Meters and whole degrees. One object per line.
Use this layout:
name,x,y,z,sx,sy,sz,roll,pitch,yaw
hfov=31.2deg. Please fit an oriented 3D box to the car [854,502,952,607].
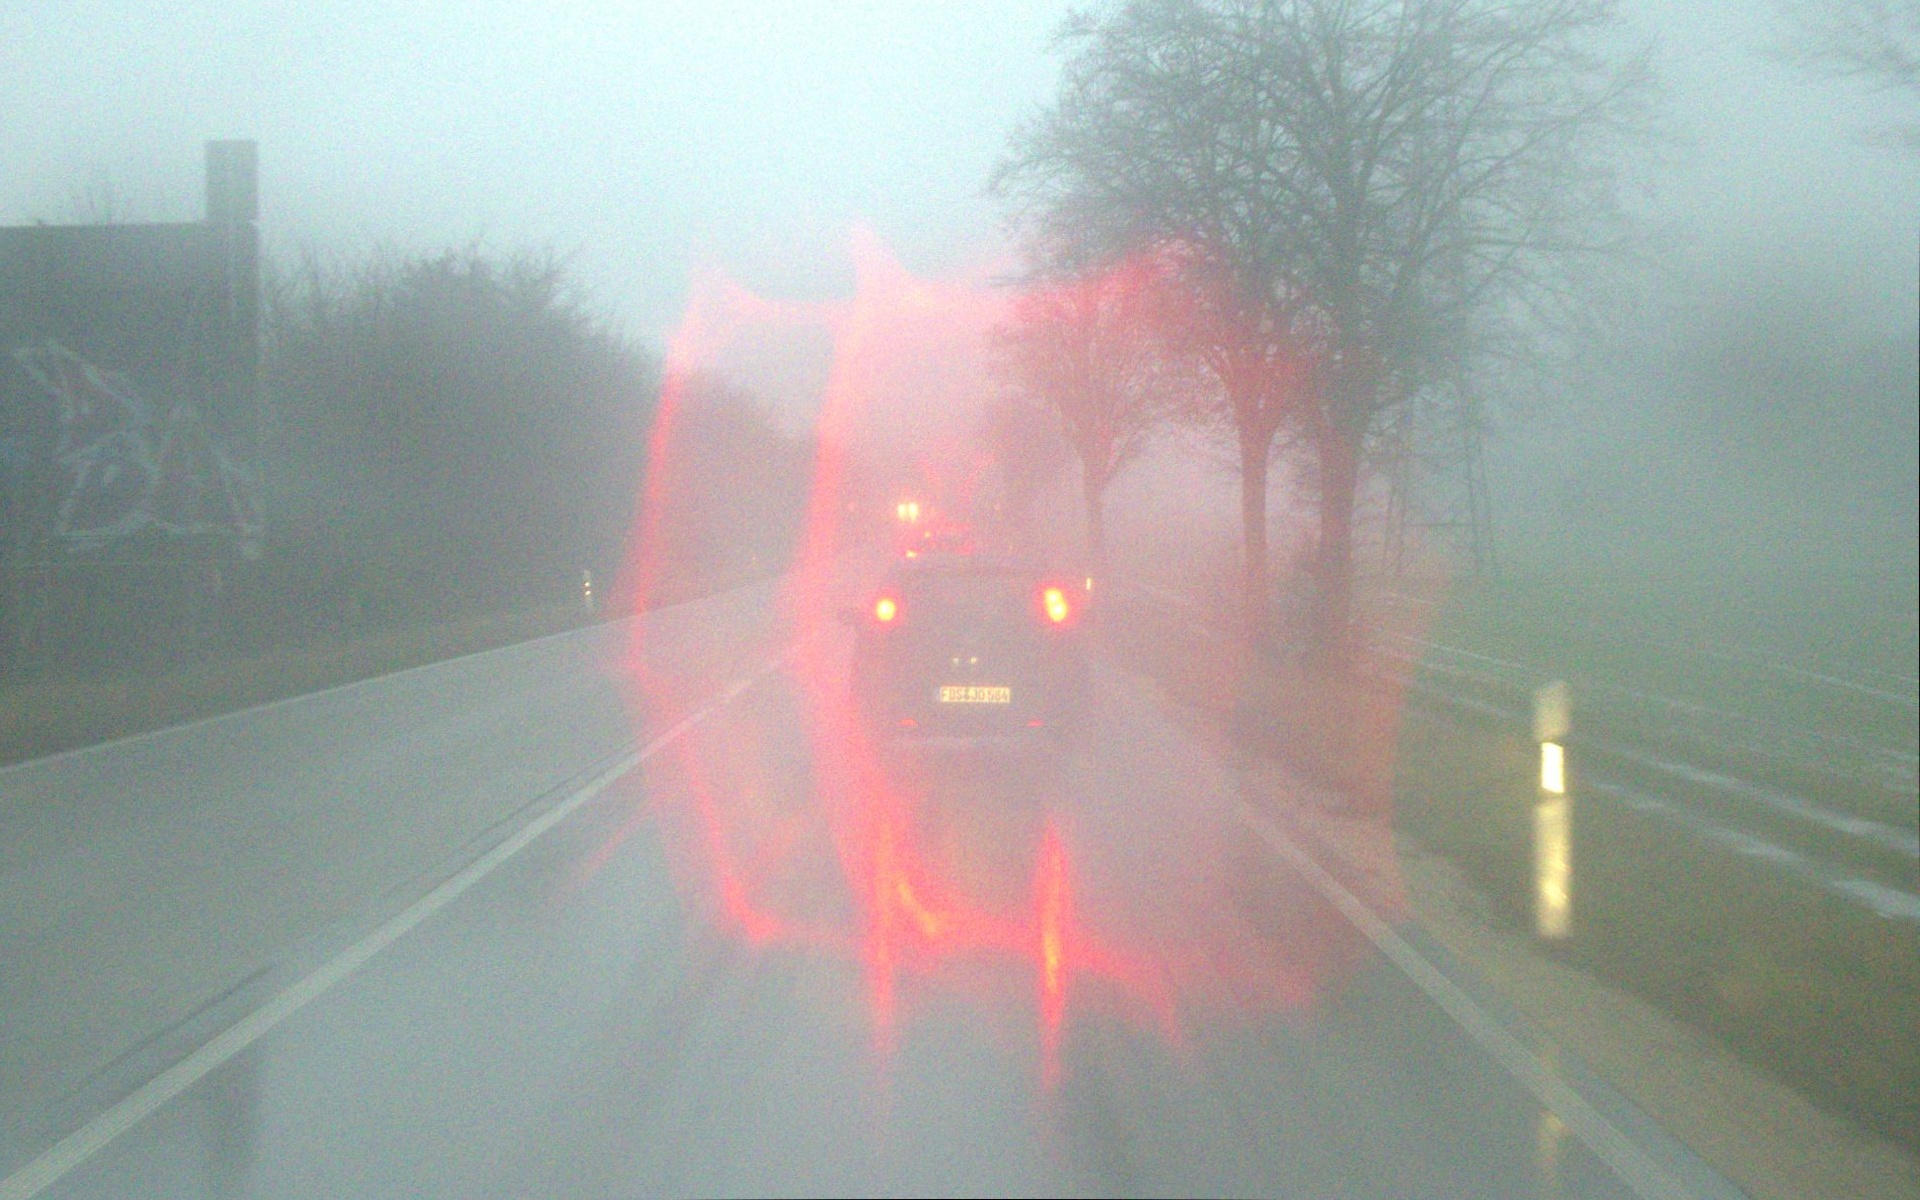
car,-1.304,-1.091,80.769,1.994,2.006,4.001,4,5,1

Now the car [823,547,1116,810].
car,0.074,0.505,25.401,1.993,1.746,4.000,0,1,0
